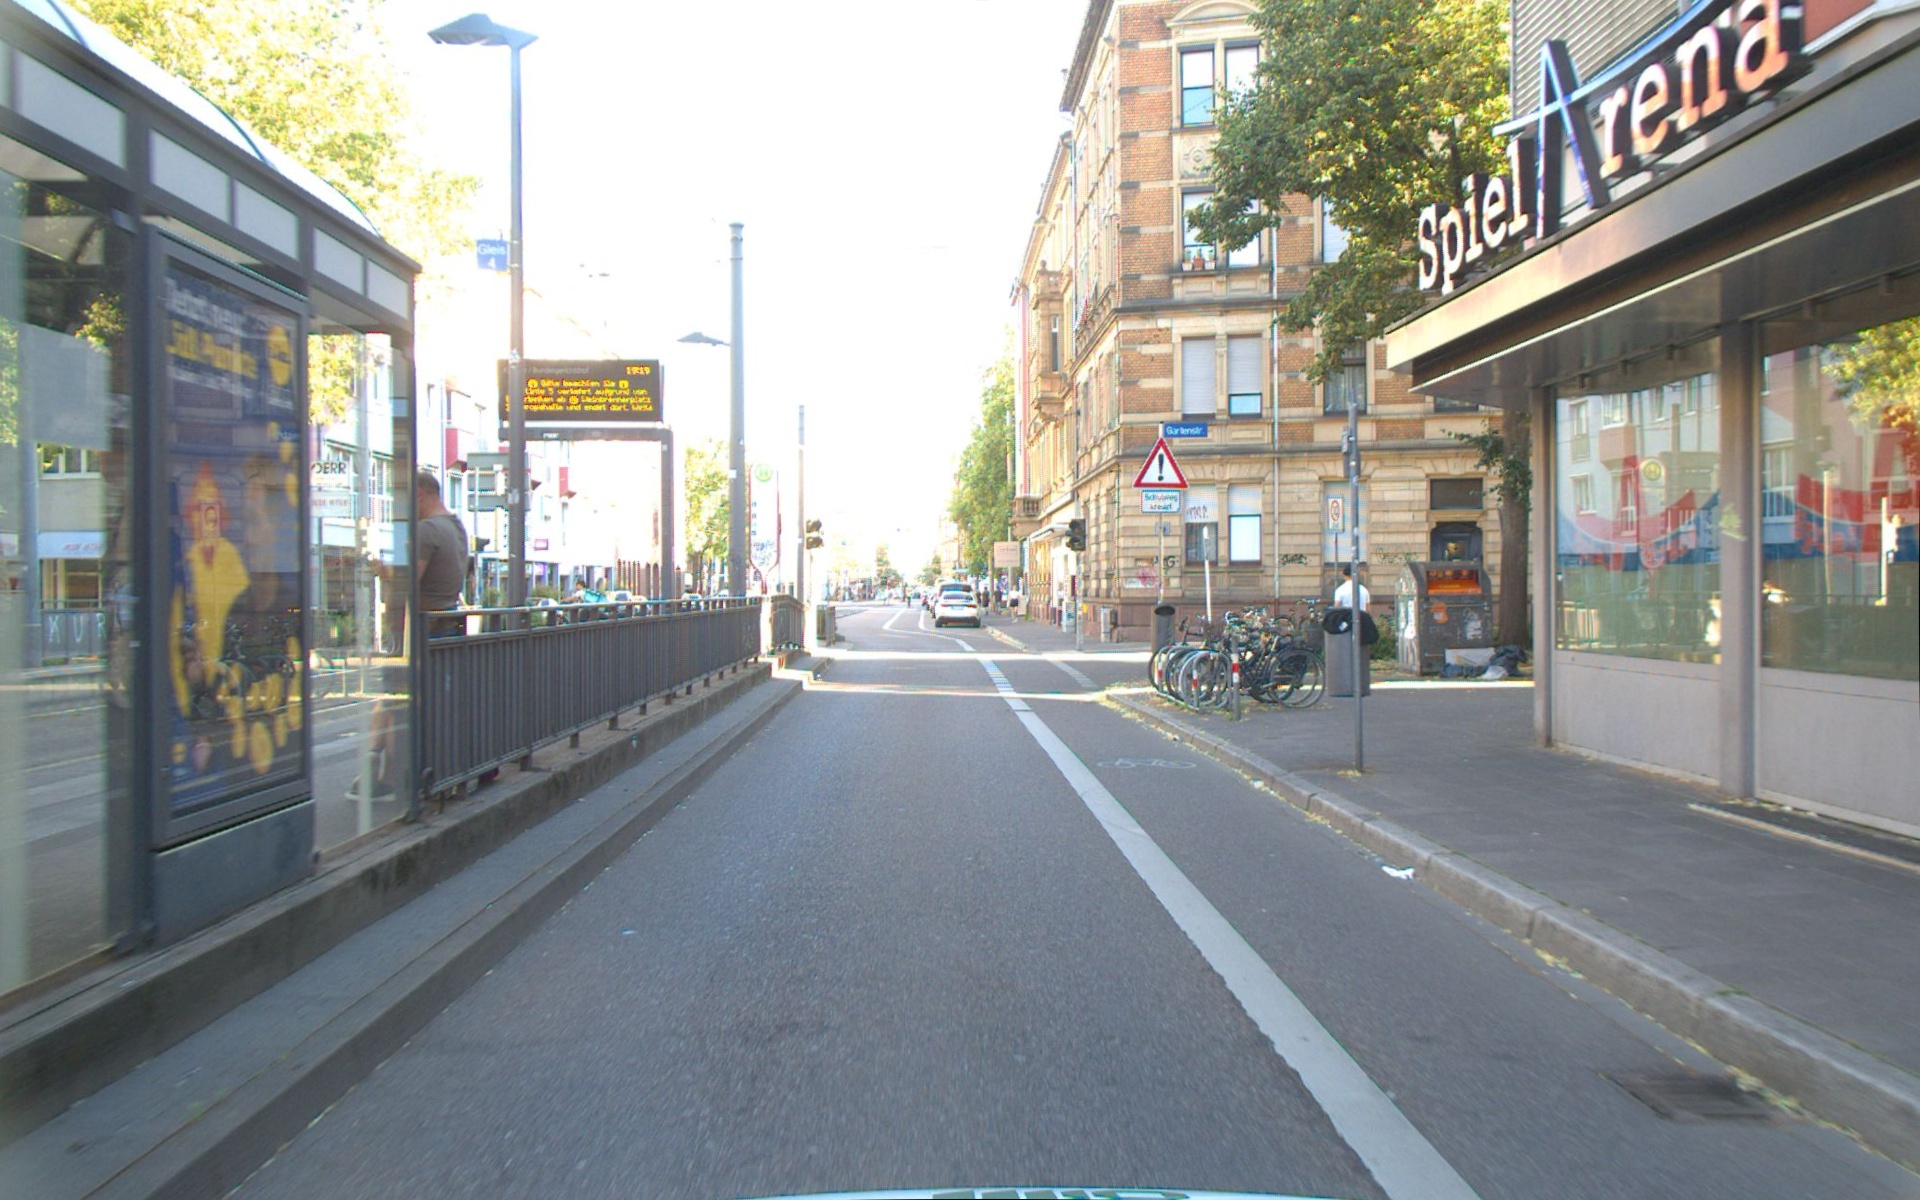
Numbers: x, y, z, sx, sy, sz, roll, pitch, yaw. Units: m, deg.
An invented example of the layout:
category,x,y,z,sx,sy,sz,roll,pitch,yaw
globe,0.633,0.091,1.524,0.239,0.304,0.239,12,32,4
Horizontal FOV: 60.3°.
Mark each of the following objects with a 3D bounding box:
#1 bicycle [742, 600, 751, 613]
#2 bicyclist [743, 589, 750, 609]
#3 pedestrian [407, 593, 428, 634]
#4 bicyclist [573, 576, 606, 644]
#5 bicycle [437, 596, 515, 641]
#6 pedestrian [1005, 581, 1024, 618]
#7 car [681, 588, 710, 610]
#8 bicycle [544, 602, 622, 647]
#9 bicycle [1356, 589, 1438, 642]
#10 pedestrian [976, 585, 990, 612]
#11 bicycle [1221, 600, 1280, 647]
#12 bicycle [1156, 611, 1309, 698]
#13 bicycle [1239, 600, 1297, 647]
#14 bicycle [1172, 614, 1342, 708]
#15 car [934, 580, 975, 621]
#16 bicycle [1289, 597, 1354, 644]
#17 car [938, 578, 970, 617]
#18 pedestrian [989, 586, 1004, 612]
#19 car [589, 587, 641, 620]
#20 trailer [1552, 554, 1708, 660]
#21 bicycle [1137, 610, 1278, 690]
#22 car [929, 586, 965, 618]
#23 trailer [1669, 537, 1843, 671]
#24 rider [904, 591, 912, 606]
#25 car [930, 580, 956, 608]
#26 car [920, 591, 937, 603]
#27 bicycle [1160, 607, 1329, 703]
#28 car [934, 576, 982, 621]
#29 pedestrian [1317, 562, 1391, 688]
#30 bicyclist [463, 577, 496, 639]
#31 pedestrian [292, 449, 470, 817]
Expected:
category,x,y,z,sx,sy,sz,roll,pitch,yaw
bicycle,-19.072,0.596,147.910,0.571,1.096,2.184,-2,0,-3
bicyclist,-19.091,-0.070,148.003,0.560,1.742,0.745,-2,0,-4
pedestrian,-23.371,0.570,71.255,0.729,1.742,0.615,0,0,-5
bicyclist,-9.621,0.254,42.958,0.728,1.742,0.534,0,0,-1
bicycle,-12.733,0.493,43.500,1.871,1.096,0.579,2,0,-27
pedestrian,2.400,-0.019,73.287,0.760,1.594,0.914,-3,0,1
car,-20.268,-0.096,127.067,1.832,1.628,4.250,0,0,-4
bicycle,-9.781,0.632,42.977,1.854,1.096,0.584,2,0,0
bicycle,10.079,0.344,38.203,0.606,1.203,2.088,0,0,-27
pedestrian,1.420,-0.094,102.014,0.760,1.594,0.913,-3,0,0
bicycle,6.659,0.517,38.010,0.444,1.042,1.896,0,0,-20
bicycle,3.439,0.680,20.942,1.798,1.072,0.717,0,0,-5
bicycle,7.060,0.534,38.021,0.411,1.042,1.896,0,0,-20
bicycle,3.503,0.708,19.557,1.875,1.066,0.680,0,0,-5
car,-0.282,0.021,81.937,1.915,1.901,4.988,1,0,0
bicycle,8.315,0.462,38.142,0.488,1.042,1.895,0,0,-22
car,-0.308,-0.115,92.664,1.670,2.157,3.707,0,-1,1
pedestrian,2.245,-0.062,101.923,0.760,1.594,0.913,-3,0,0
car,-19.387,0.226,93.109,2.049,1.743,4.816,1,-1,-2
trailer,12.011,0.130,29.894,1.924,1.762,3.936,-1,-1,12
bicycle,3.375,0.673,22.614,1.798,1.072,0.710,0,0,-5
car,-0.800,0.125,97.824,1.910,1.819,5.178,1,0,-3
trailer,12.370,0.068,25.894,1.541,1.917,3.188,-2,-1,9
rider,-5.612,-0.151,177.976,0.865,1.507,0.713,2,0,-1
car,-1.283,-0.443,127.674,1.931,2.049,4.557,-2,0,-1
car,-3.944,-0.327,205.950,2.024,1.413,4.224,2,0,-2
bicycle,3.467,0.662,20.213,1.931,1.124,0.614,-1,0,-5
car,-0.101,-0.047,69.933,1.926,1.802,4.874,1,0,-1
pedestrian,5.459,0.329,22.943,0.767,1.694,1.033,0,2,-1
bicyclist,-12.645,0.205,43.527,0.735,1.605,0.529,0,0,-28
pedestrian,-2.875,0.152,8.282,0.609,1.742,0.849,0,0,-2
